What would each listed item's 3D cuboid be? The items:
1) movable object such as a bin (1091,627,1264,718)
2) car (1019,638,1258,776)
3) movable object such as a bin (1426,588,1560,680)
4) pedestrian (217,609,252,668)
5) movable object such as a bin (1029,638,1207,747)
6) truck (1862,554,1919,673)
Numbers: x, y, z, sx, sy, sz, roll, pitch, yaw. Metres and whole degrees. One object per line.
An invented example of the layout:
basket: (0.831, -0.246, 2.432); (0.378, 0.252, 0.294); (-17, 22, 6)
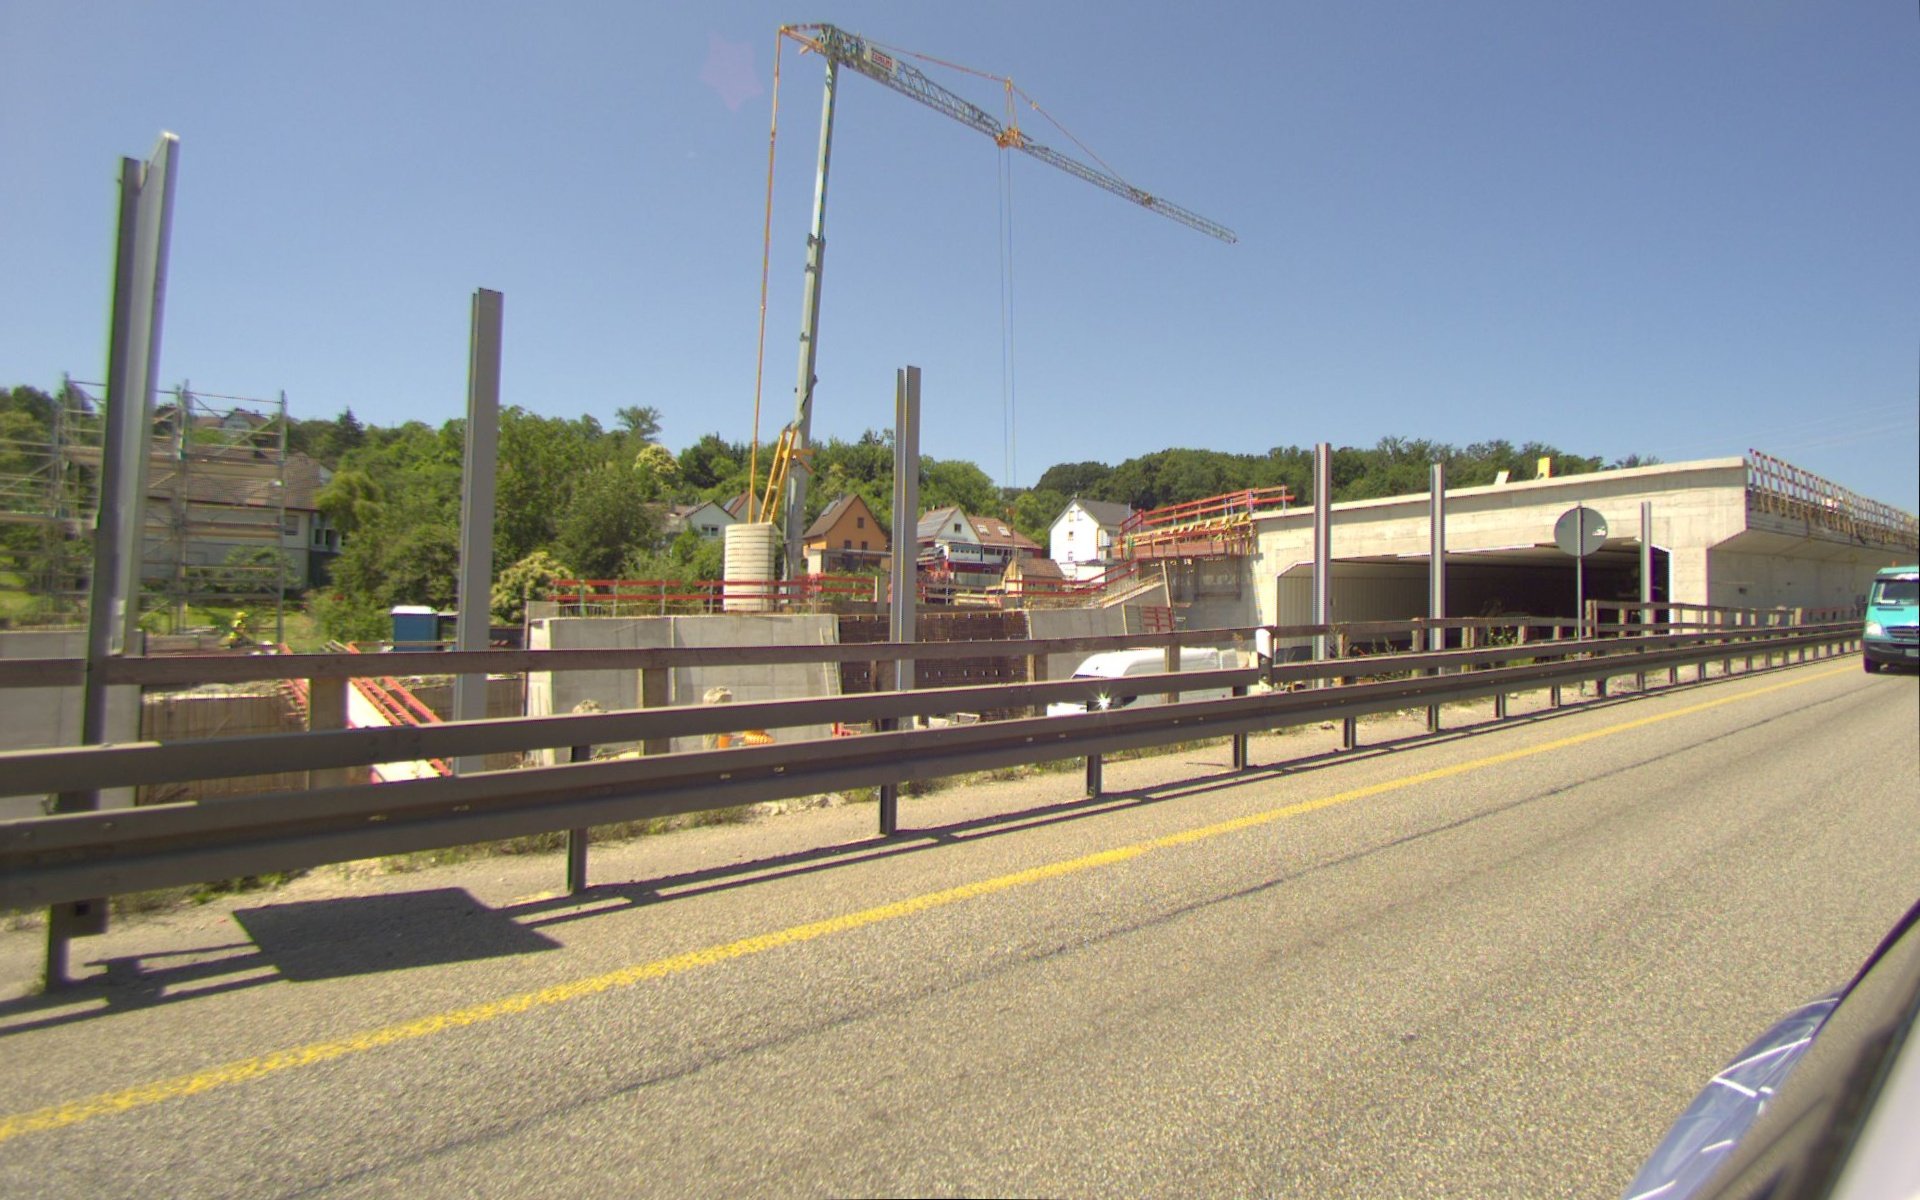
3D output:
movable object such as a bin: (8.447, 3.008, 40.456); (3.425, 2.941, 7.159); (-1, -8, -18)
car: (4.916, 2.649, 27.009); (6.893, 2.891, 2.151); (-2, 1, -37)
movable object such as a bin: (27.183, 1.548, 51.361); (8.998, 4.113, 2.958); (-2, 1, -41)
pedestrian: (-25.954, 1.366, 36.200); (0.954, 2.012, 1.140); (-1, 1, -37)
movable object such as a bin: (4.844, 2.675, 30.630); (5.398, 2.710, 2.151); (-2, 1, -36)
truck: (22.173, 0.186, 22.527); (7.303, 2.386, 2.138); (-2, 1, -40)
